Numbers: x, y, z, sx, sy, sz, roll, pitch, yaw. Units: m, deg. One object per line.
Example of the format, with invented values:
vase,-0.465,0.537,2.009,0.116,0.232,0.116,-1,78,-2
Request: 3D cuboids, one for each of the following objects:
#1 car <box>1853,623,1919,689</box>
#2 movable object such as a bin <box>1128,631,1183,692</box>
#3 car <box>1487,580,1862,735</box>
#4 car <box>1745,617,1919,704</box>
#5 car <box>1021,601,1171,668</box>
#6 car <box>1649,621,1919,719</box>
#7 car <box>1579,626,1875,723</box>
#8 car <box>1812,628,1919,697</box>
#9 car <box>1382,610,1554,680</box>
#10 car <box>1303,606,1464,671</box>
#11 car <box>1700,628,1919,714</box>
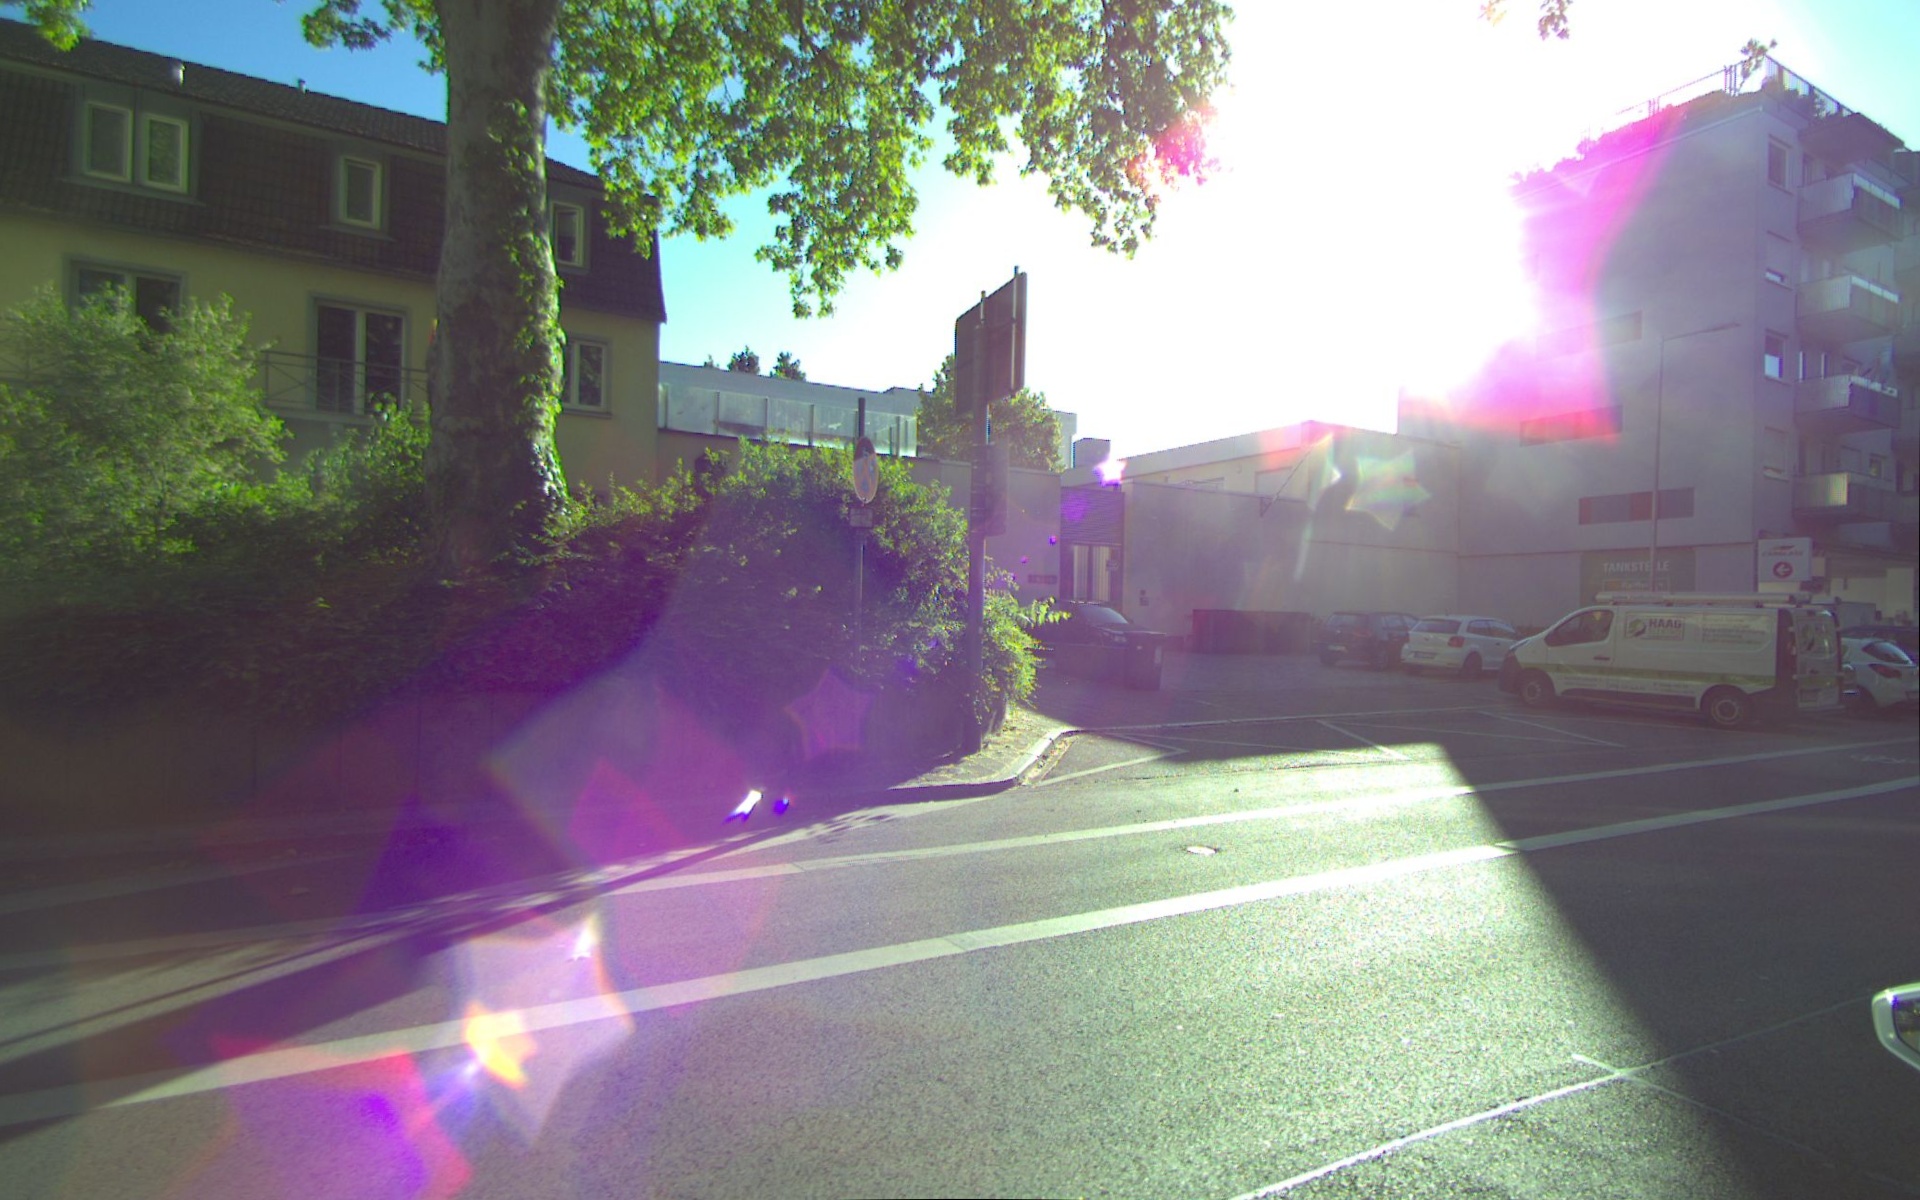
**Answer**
car,24.442,1.438,24.420,1.809,1.533,3.668,2,1,-29
movable object such as a bin,3.578,1.115,18.402,0.825,1.058,0.525,1,2,-30
car,12.128,0.841,17.464,2.115,2.246,4.821,2,1,-29
car,20.111,1.306,21.963,2.004,1.706,4.174,2,0,-29
car,3.311,0.795,25.179,1.866,1.436,3.846,1,1,-27
car,16.087,1.265,19.579,1.831,1.580,3.968,1,0,-29
car,14.064,1.292,18.662,1.831,1.452,3.968,2,0,-29
car,22.498,1.474,23.134,1.893,1.475,3.968,2,0,-29
car,12.153,1.055,23.988,3.953,1.483,1.781,2,1,-30
car,10.902,0.985,25.826,3.953,1.484,1.781,2,1,-30
car,17.910,1.389,20.620,1.831,1.452,3.968,1,0,-29
